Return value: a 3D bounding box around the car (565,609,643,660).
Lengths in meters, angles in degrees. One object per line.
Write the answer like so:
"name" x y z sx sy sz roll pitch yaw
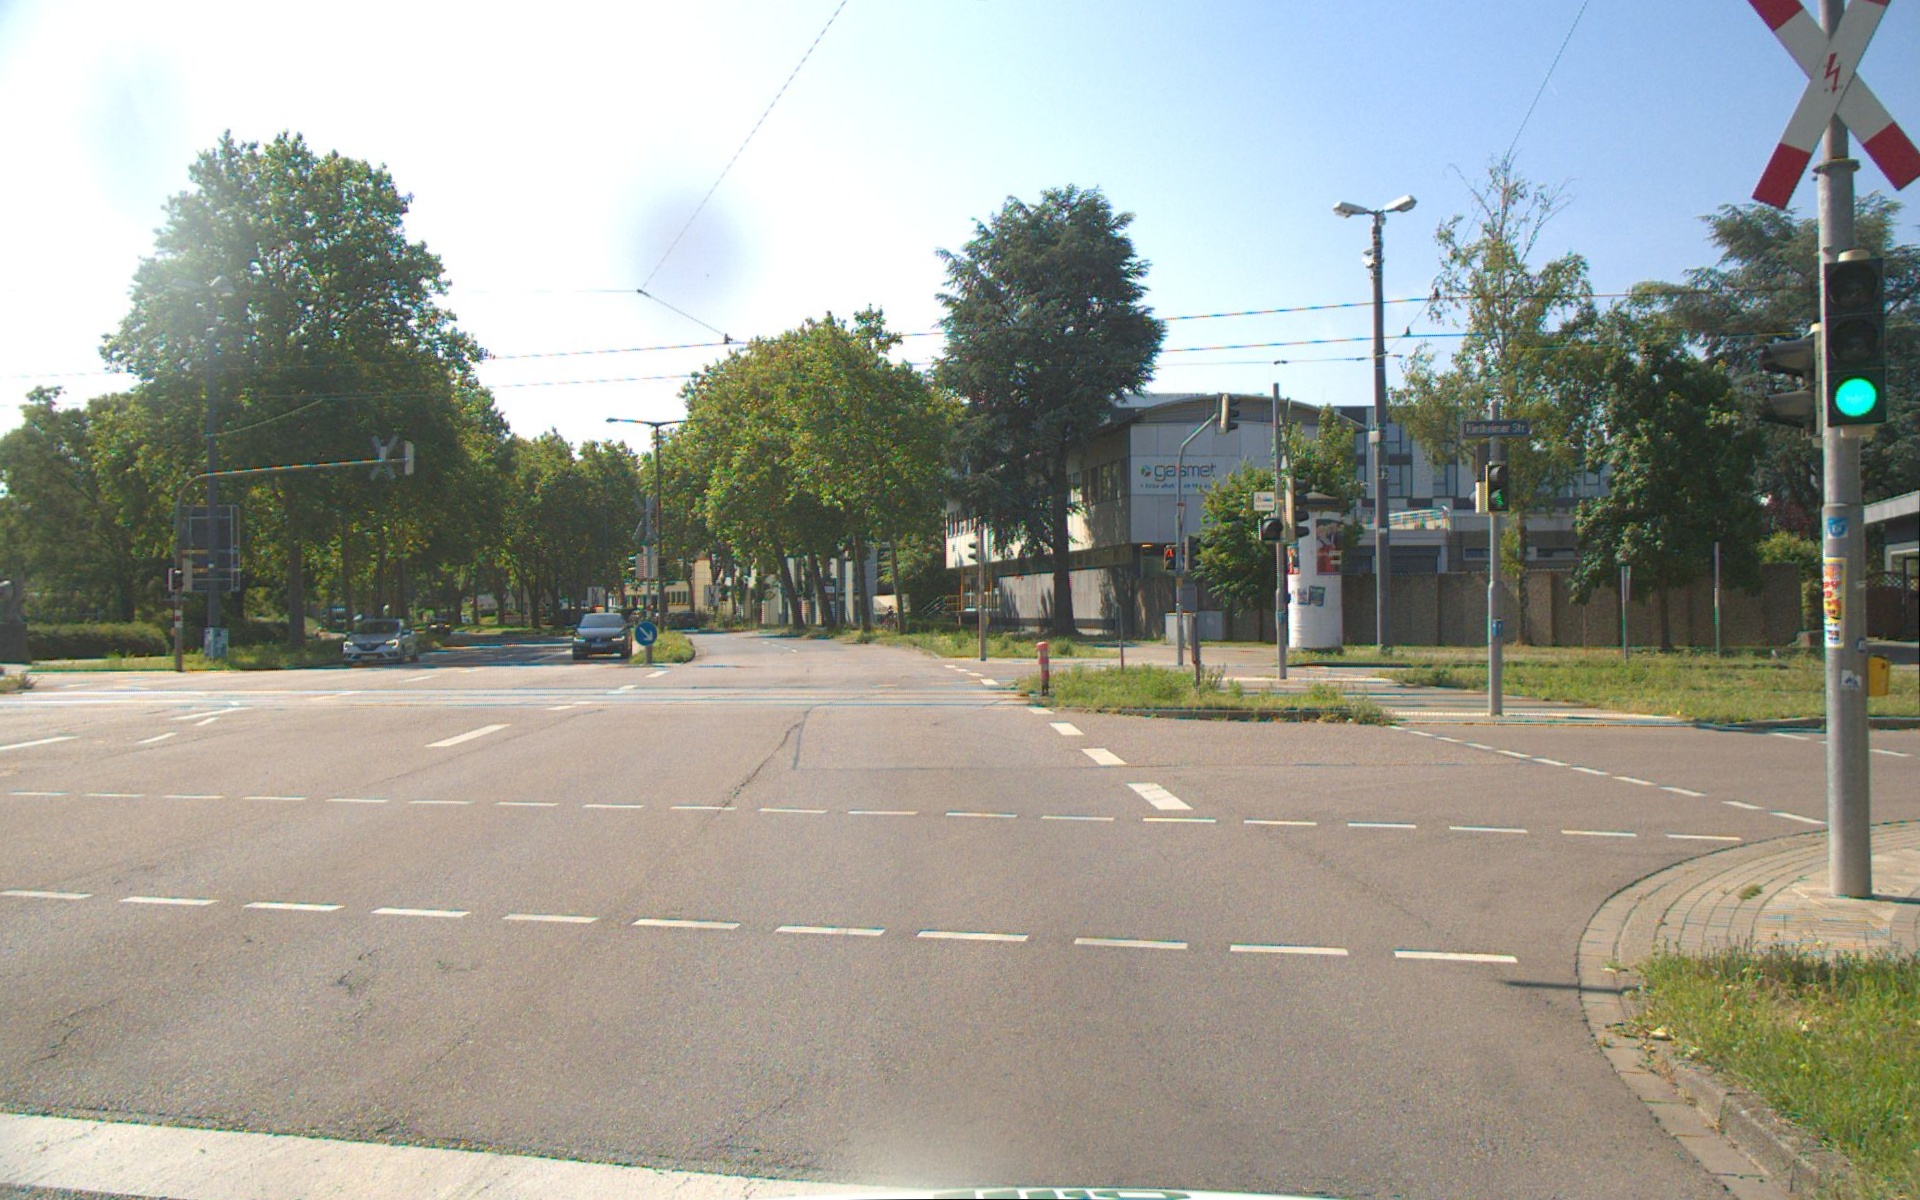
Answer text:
"car" -11.443 1.083 53.384 1.659 1.534 4.128 -1 0 -1

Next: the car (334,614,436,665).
"car" -18.523 1.236 53.487 1.659 1.534 4.660 -1 0 0

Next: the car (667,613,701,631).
"car" -23.869 1.905 143.109 1.685 1.513 4.681 -2 0 -25

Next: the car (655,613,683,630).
"car" -26.085 1.924 148.186 1.682 1.514 4.075 -1 0 -21
